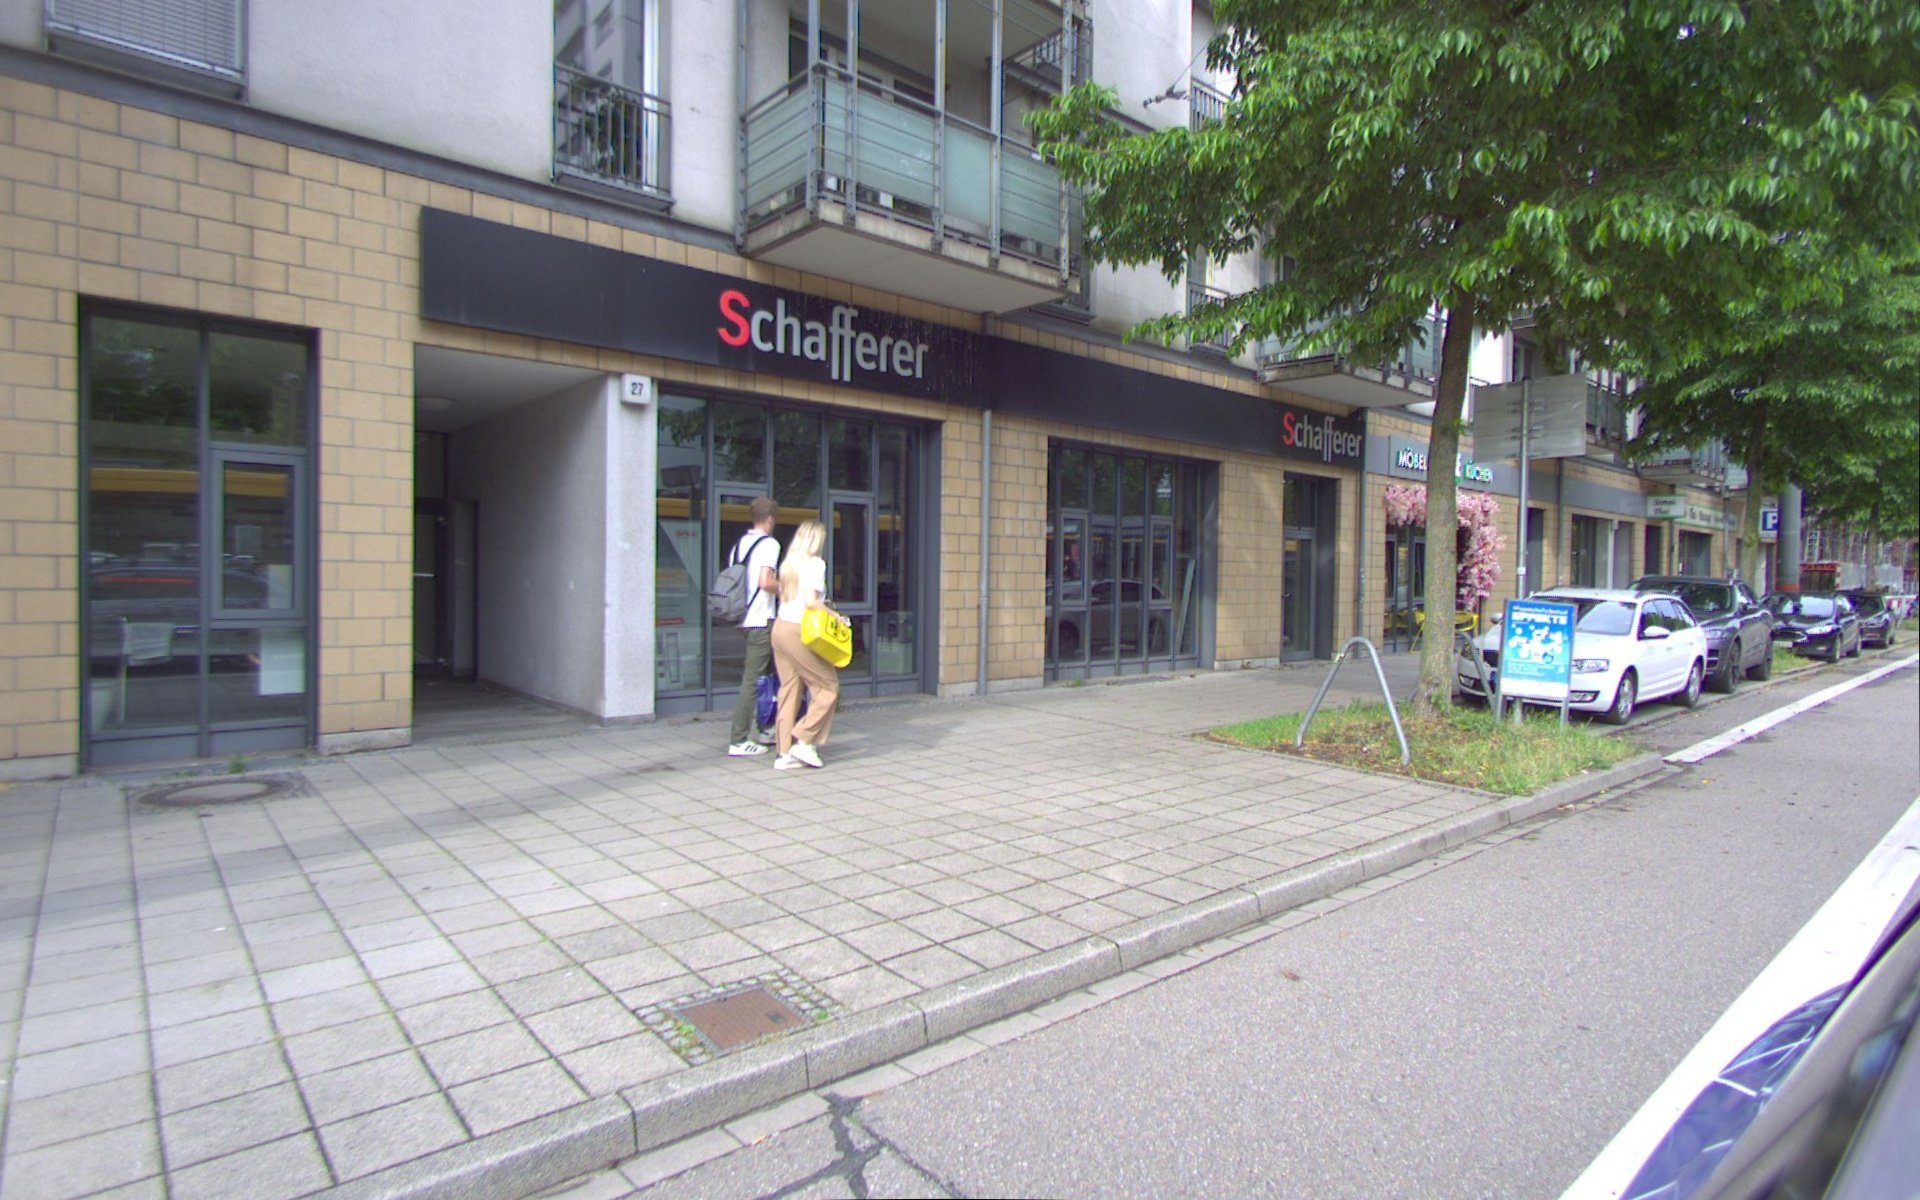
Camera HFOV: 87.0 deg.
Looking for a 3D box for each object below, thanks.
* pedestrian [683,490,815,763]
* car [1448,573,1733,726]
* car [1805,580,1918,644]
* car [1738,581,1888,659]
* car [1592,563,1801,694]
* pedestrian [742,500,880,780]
[{"bbox_3d":[-1.589,0.172,7.596,0.724,1.914,0.677,0,2,-39],"label":"pedestrian"},{"bbox_3d":[7.936,0.475,12.584,4.312,1.517,1.681,-1,4,-40],"label":"car"},{"bbox_3d":[24.174,0.258,27.085,4.315,1.472,1.800,-1,5,-43],"label":"car"},{"bbox_3d":[18.527,0.356,21.923,4.329,1.459,1.681,-1,4,-40],"label":"car"},{"bbox_3d":[11.778,0.333,16.062,4.632,1.737,1.715,-1,4,-42],"label":"car"},{"bbox_3d":[-1.046,0.248,7.077,0.724,1.828,0.617,0,2,-39],"label":"pedestrian"}]
